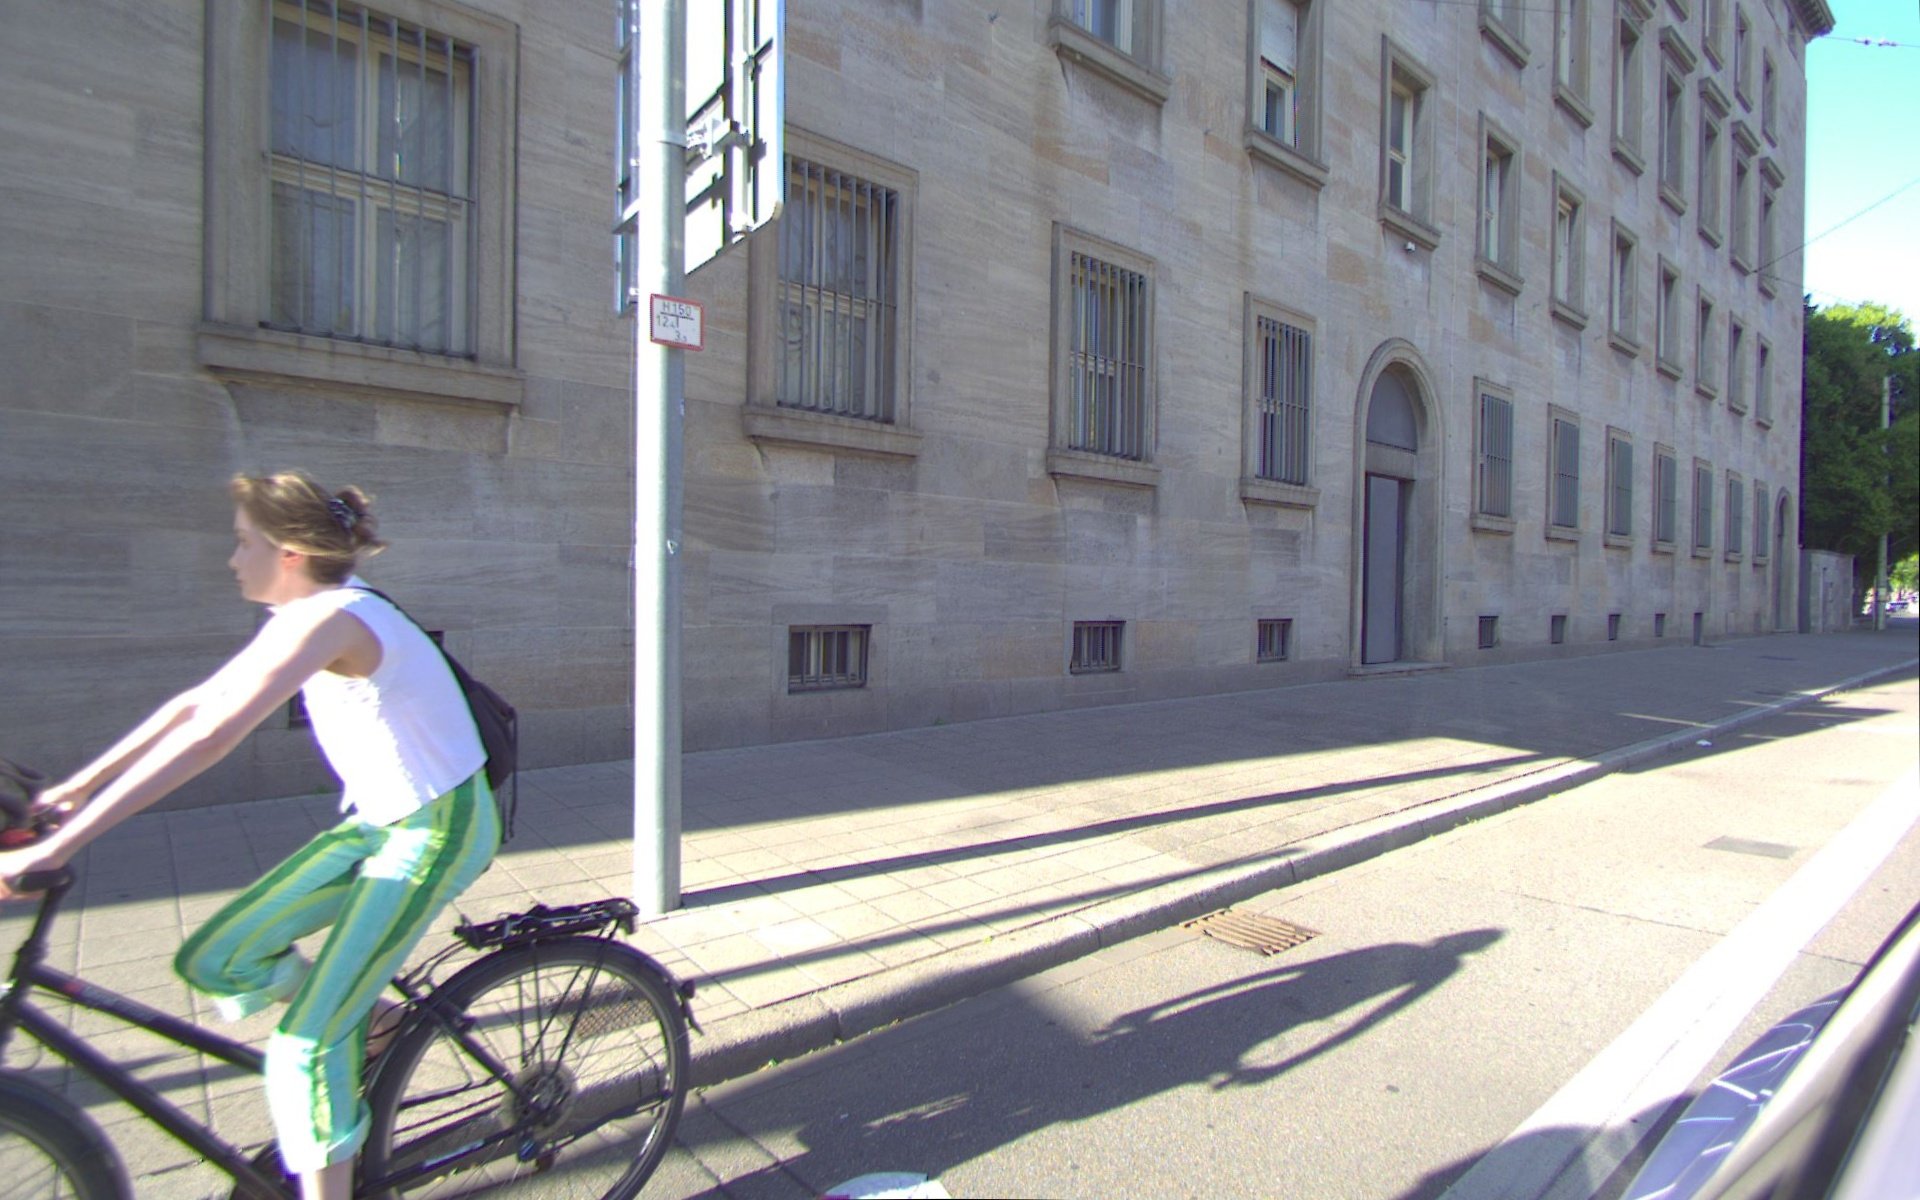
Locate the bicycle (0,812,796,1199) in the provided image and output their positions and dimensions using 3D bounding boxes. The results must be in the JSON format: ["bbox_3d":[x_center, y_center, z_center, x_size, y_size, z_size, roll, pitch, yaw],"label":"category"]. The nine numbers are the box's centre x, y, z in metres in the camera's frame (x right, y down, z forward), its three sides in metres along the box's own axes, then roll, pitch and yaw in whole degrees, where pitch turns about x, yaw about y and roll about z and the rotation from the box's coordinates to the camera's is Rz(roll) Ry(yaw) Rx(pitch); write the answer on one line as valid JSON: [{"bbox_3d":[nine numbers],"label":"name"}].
[{"bbox_3d":[-1.273,1.001,1.923,1.915,0.887,0.428,1,1,-38],"label":"bicycle"}]

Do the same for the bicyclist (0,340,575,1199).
[{"bbox_3d":[-1.250,0.466,1.922,0.843,1.700,0.523,0,1,-38],"label":"bicyclist"}]
